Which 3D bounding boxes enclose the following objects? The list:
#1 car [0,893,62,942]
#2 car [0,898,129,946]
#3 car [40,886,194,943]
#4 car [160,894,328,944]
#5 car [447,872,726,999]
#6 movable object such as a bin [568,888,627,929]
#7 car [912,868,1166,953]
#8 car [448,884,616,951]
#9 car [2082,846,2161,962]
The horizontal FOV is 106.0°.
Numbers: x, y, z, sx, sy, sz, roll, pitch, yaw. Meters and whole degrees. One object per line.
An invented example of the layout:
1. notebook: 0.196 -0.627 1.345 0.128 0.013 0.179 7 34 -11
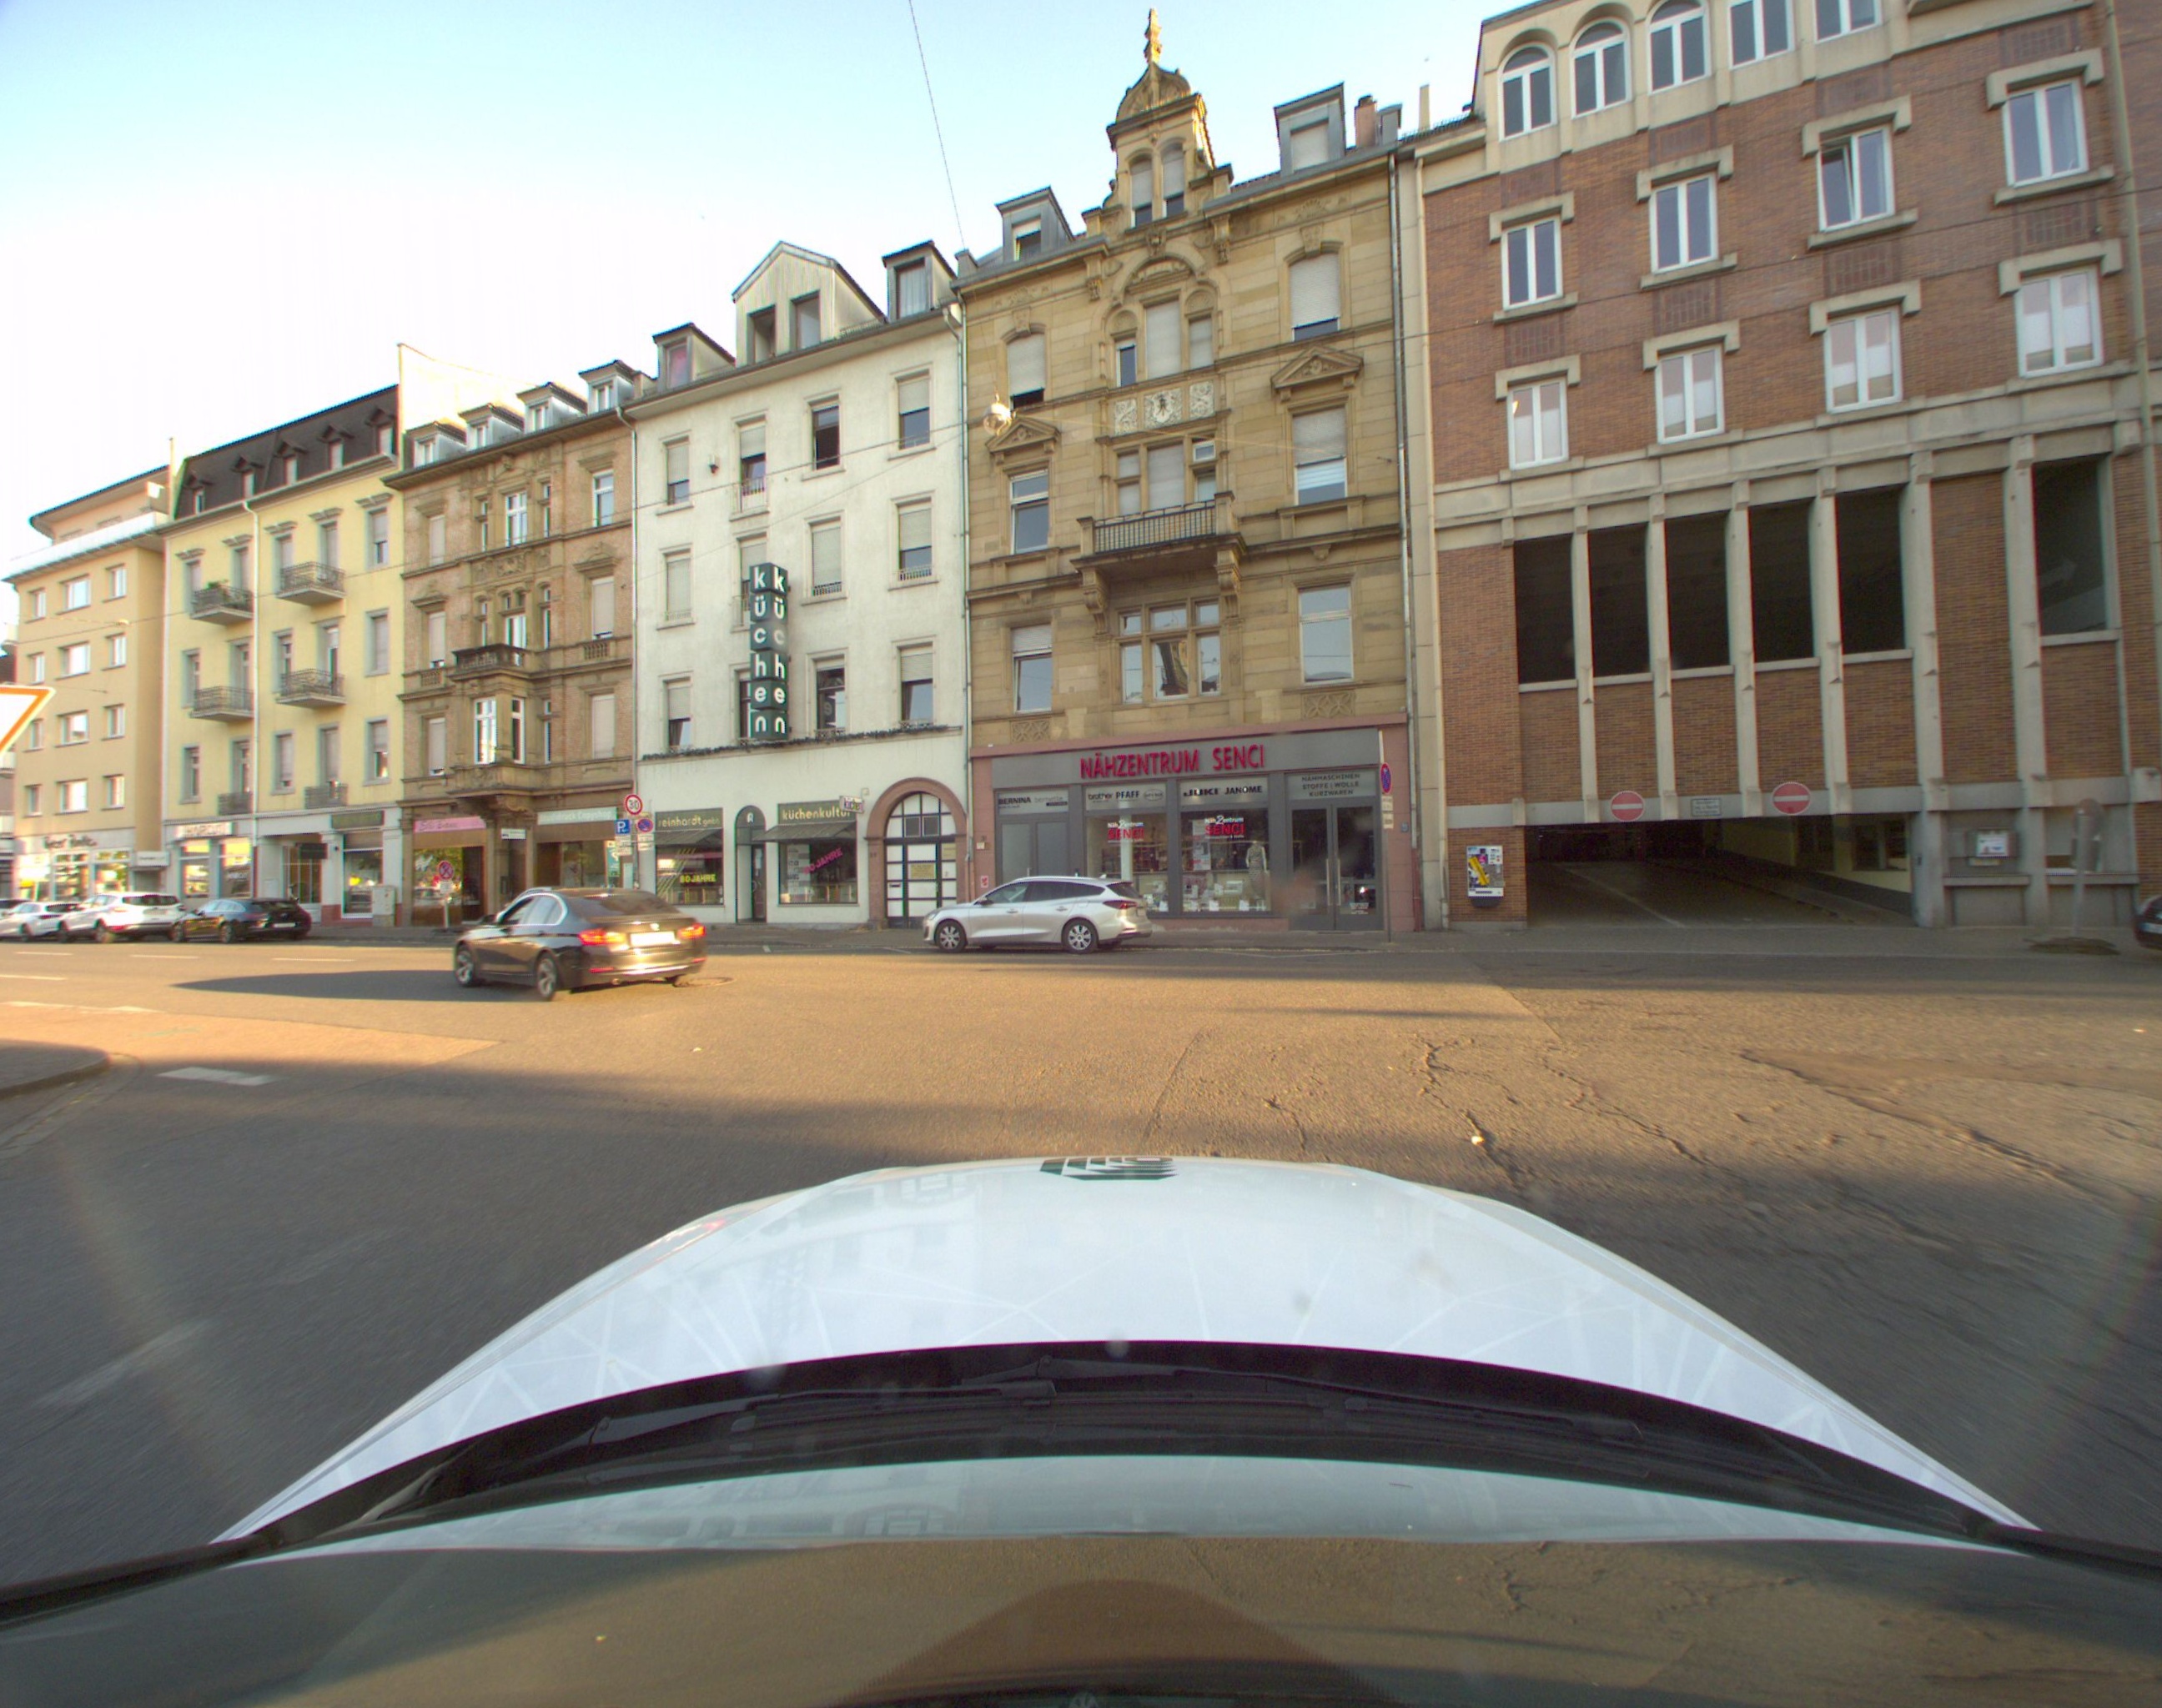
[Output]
1. car: -42.806 2.474 32.177 4.356 1.762 1.883 0 -1 21
2. car: -37.750 2.437 29.978 4.811 1.543 2.033 0 -1 22
3. car: -32.658 1.997 27.594 4.604 1.745 1.898 0 -1 21
4. car: -26.837 2.061 26.112 4.792 1.434 2.010 -2 -2 21
5. car: -7.076 1.044 11.542 4.150 1.492 1.907 -3 -3 36
6. movable object such as a bin: -14.855 1.668 25.016 1.381 1.186 0.873 -2 -2 21
7. car: -0.819 1.043 16.290 4.627 1.535 2.010 0 -1 20
8. car: -14.463 1.616 21.481 3.952 1.585 1.714 0 -1 21
9. car: 16.189 0.622 10.311 3.952 1.520 2.011 -1 -1 21
